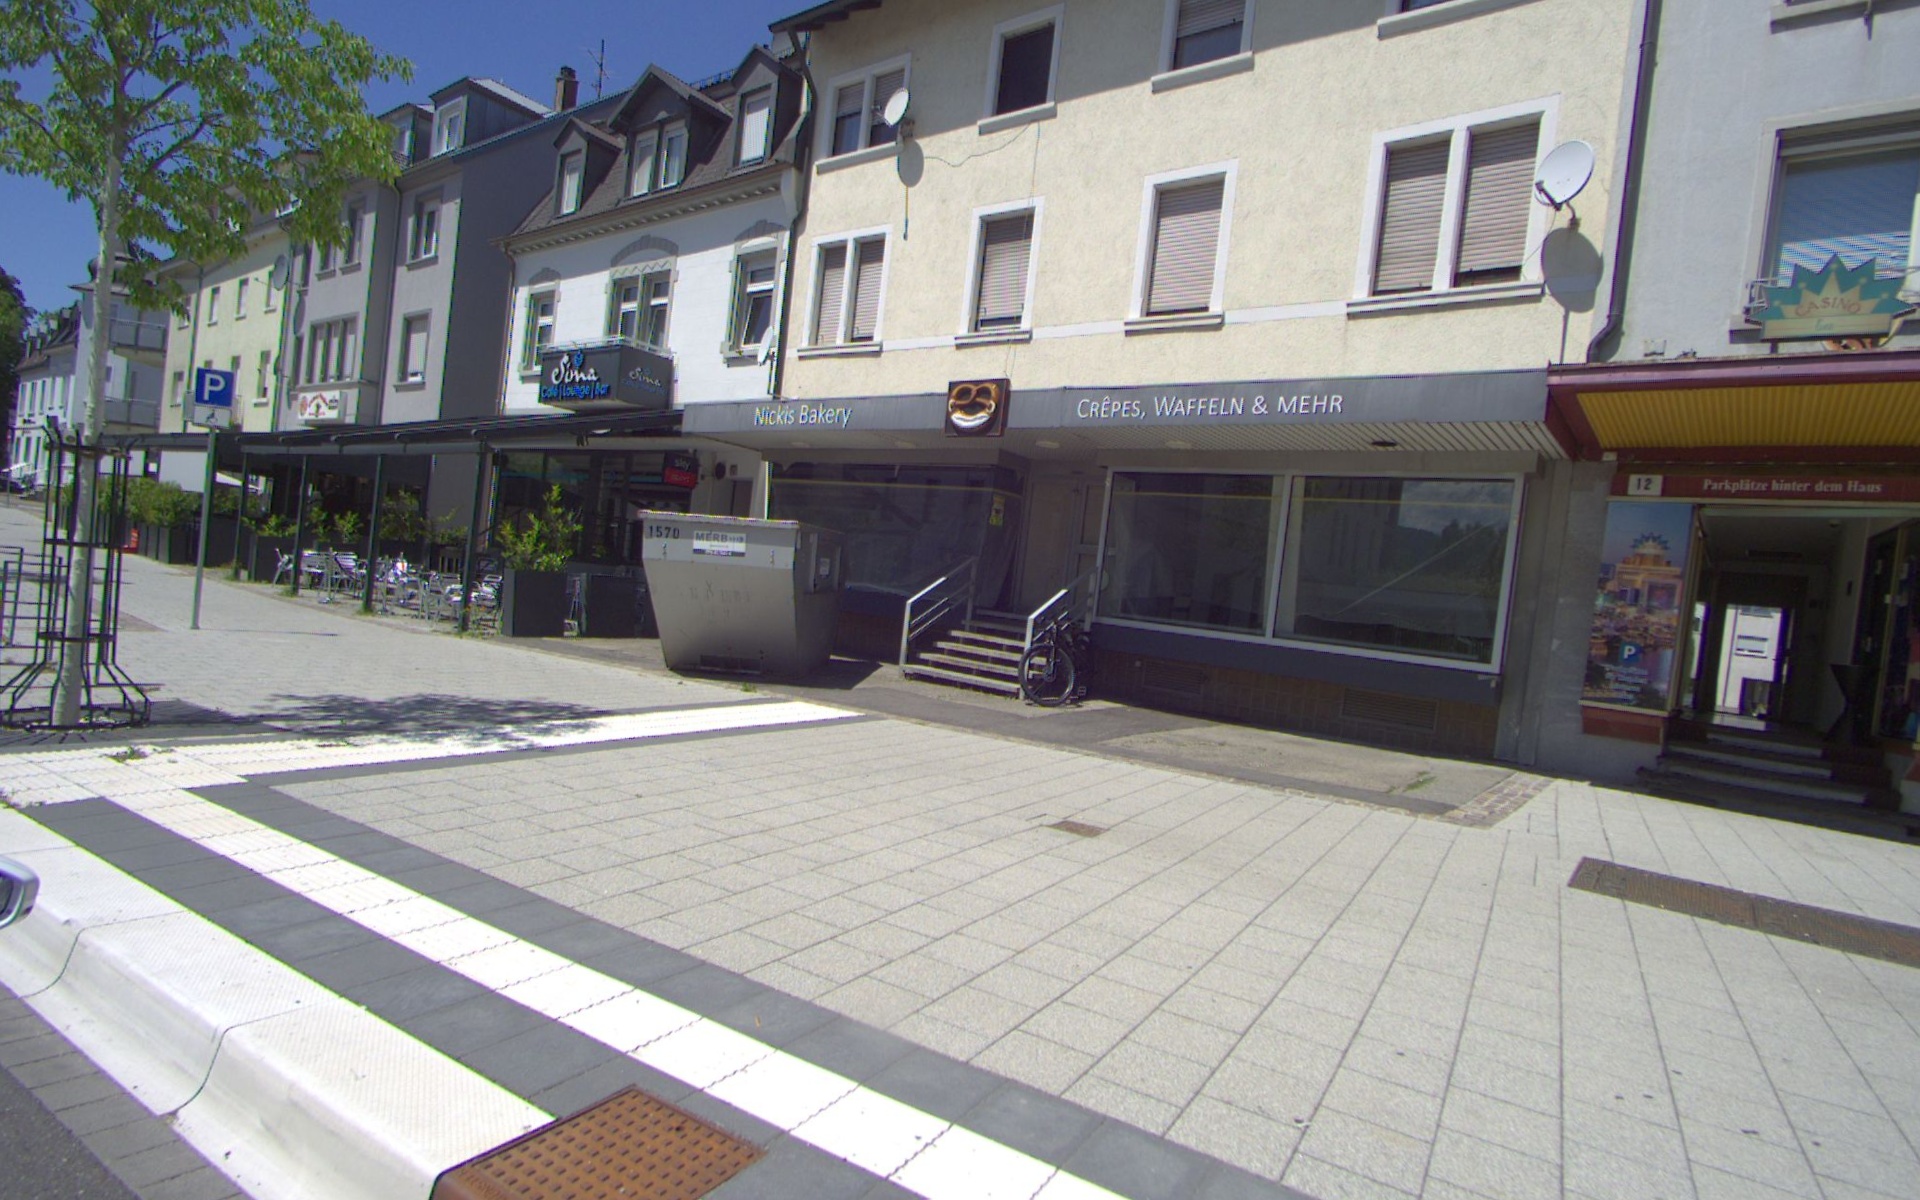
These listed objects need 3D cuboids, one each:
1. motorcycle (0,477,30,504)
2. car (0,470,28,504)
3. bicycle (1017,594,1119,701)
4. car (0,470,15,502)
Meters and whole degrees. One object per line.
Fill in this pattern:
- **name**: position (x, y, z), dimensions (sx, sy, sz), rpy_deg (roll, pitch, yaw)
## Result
- **motorcycle**: position (-52.676, -6.124, 55.086), dimensions (0.843, 1.291, 2.376), rpy_deg (8, 0, 39)
- **car**: position (-55.817, -6.698, 56.980), dimensions (1.828, 1.736, 4.076), rpy_deg (7, -1, 38)
- **bicycle**: position (1.365, 0.605, 12.575), dimensions (1.266, 1.197, 0.410), rpy_deg (9, -2, -43)
- **car**: position (-57.493, -6.913, 57.950), dimensions (1.828, 1.736, 4.076), rpy_deg (7, -1, 38)
